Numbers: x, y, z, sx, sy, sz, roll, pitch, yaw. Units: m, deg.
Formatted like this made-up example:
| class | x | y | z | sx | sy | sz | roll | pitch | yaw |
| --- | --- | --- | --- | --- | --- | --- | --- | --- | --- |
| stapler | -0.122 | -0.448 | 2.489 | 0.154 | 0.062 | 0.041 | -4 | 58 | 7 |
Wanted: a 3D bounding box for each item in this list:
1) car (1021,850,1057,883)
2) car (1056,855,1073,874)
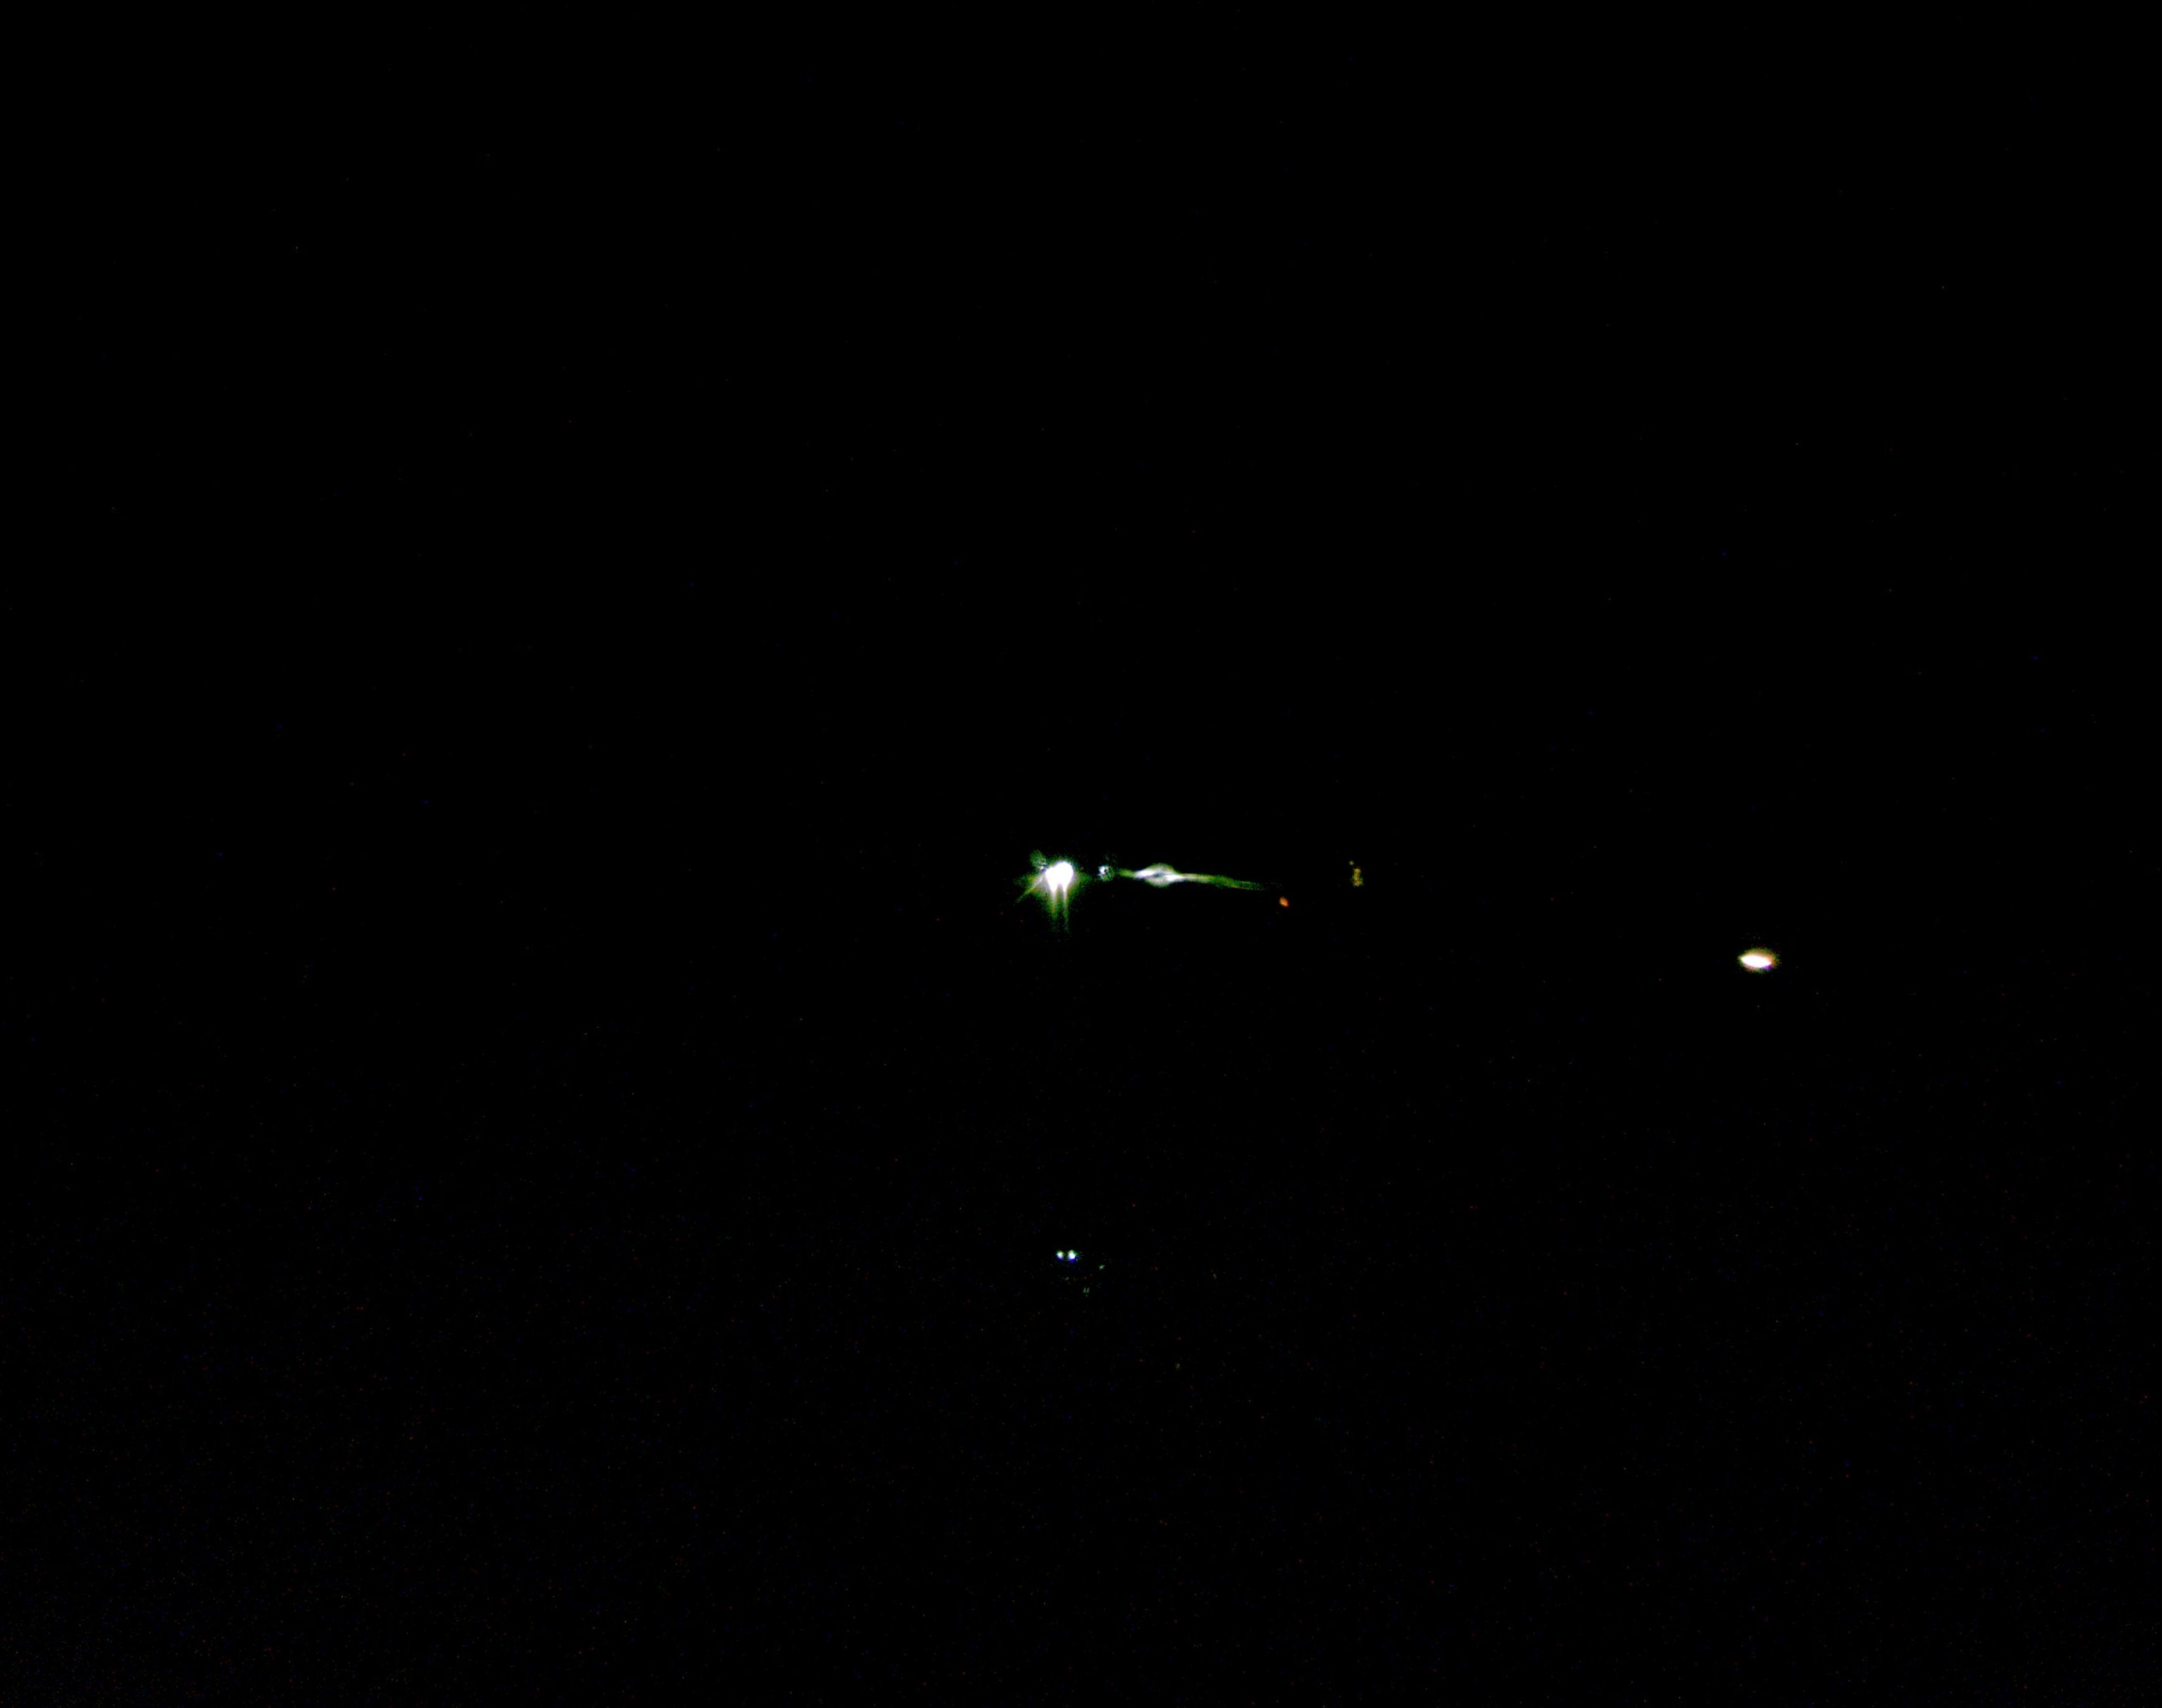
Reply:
| class | x | y | z | sx | sy | sz | roll | pitch | yaw |
| --- | --- | --- | --- | --- | --- | --- | --- | --- | --- |
| car | -2.766 | 0.848 | 50.860 | 2.203 | 2.001 | 4.207 | -2 | -1 | -1 |
| car | -2.039 | 1.294 | 94.799 | 1.999 | 2.002 | 3.998 | -2 | 2 | -2 |
